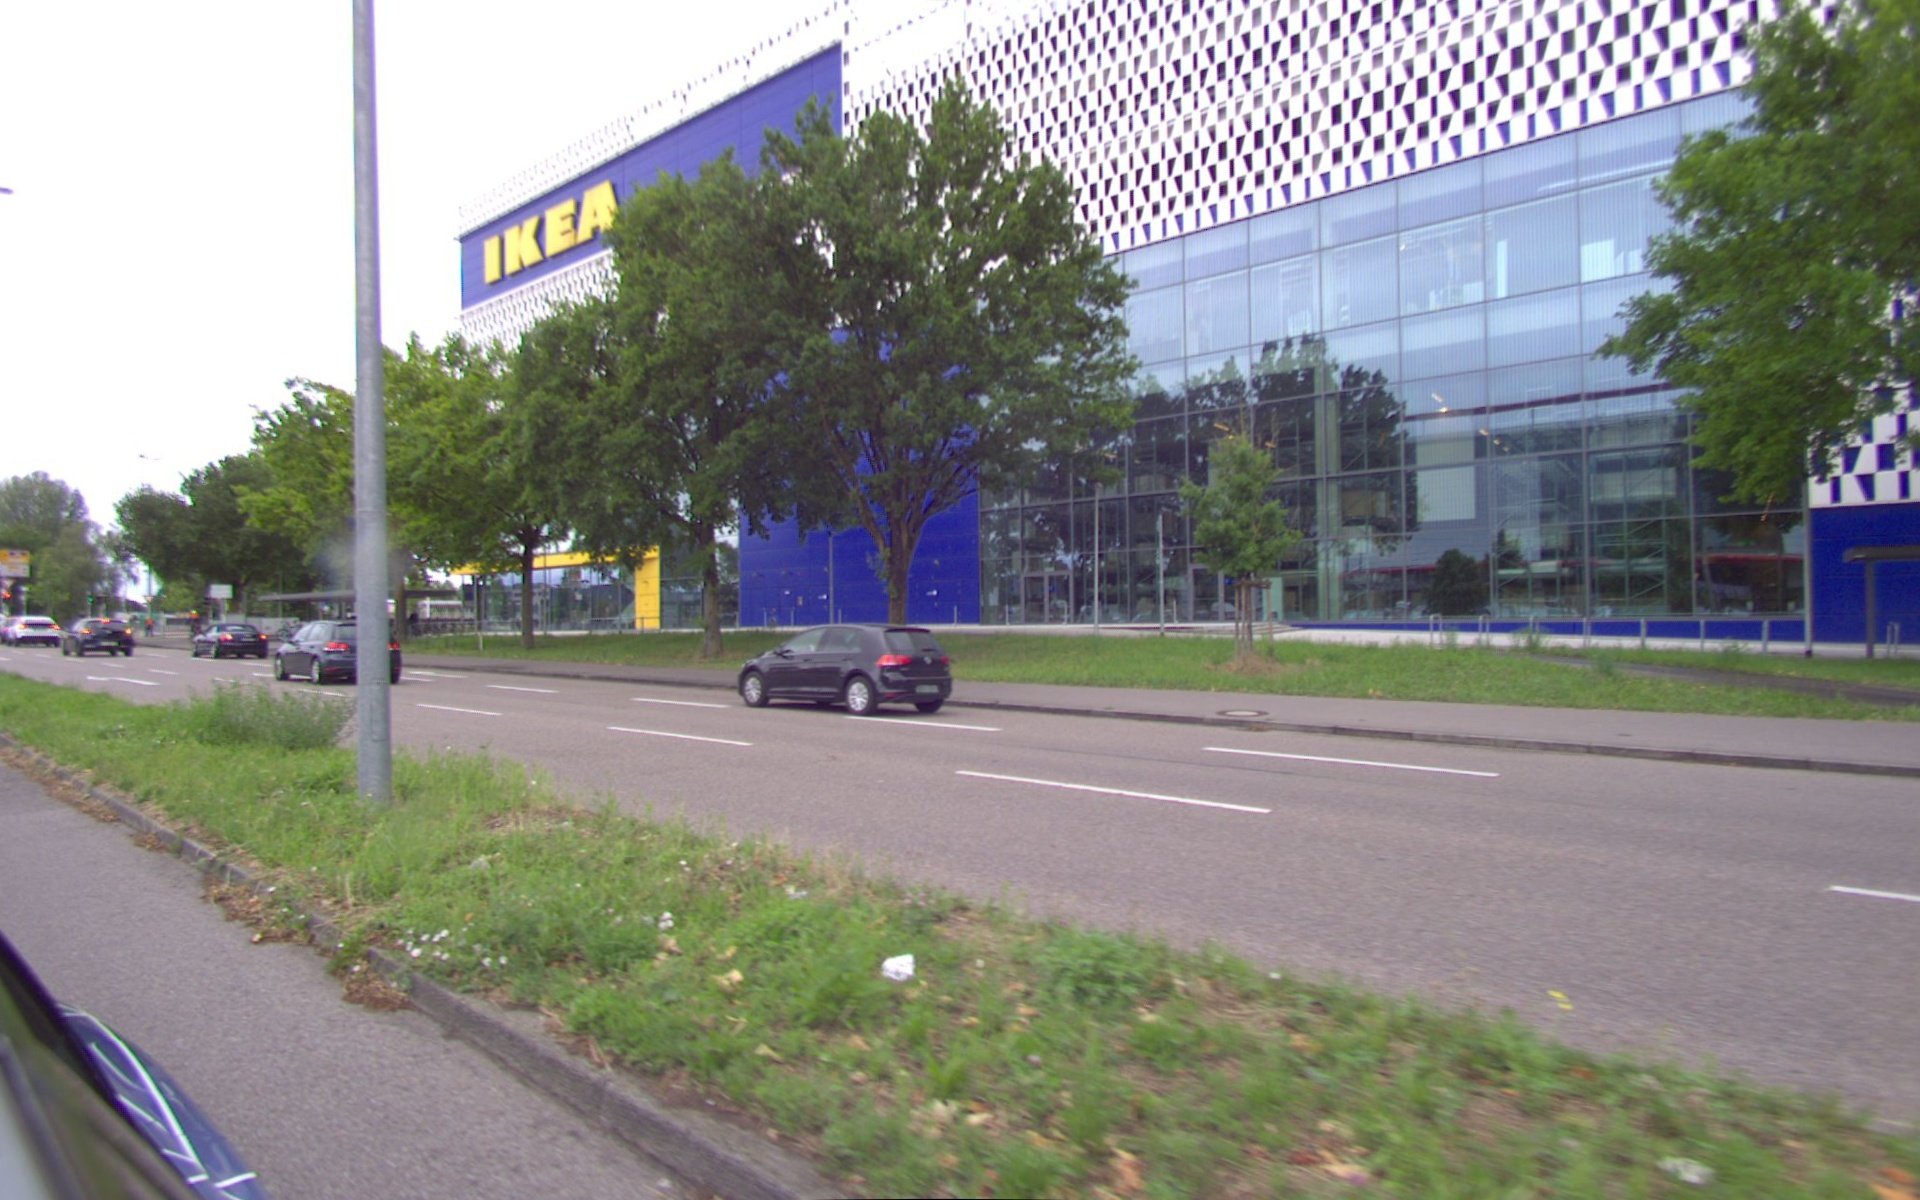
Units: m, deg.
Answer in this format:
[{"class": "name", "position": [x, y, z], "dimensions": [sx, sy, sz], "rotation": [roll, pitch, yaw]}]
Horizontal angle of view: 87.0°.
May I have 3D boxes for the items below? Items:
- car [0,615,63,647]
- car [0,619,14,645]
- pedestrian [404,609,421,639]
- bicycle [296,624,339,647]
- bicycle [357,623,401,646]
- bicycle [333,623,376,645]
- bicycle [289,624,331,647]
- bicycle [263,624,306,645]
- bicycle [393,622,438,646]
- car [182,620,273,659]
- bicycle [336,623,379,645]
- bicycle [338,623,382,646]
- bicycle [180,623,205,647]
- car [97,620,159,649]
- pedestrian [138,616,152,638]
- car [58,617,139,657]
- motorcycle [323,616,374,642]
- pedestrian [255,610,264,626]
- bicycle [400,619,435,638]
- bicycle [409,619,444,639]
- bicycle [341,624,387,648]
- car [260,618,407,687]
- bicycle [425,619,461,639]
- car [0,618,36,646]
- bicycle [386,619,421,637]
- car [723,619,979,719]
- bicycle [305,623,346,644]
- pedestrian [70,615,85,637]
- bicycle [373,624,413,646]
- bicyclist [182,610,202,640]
[{"class": "car", "position": [-47.071, 1.544, 51.181], "dimensions": [4.178, 1.530, 1.912], "rotation": [0, 0, 39]}, {"class": "car", "position": [-56.966, 1.852, 59.356], "dimensions": [4.139, 1.455, 1.586], "rotation": [0, -3, 39]}, {"class": "pedestrian", "position": [-33.468, 1.471, 61.879], "dimensions": [0.807, 1.759, 0.670], "rotation": [-2, -1, 39]}, {"class": "bicycle", "position": [-35.468, 1.939, 55.883], "dimensions": [0.593, 1.165, 1.875], "rotation": [-1, 1, 39]}, {"class": "bicycle", "position": [-32.181, 1.887, 56.063], "dimensions": [0.593, 1.165, 1.996], "rotation": [-1, 1, 39]}, {"class": "bicycle", "position": [-34.630, 1.941, 57.861], "dimensions": [0.593, 1.165, 1.996], "rotation": [-1, 1, 39]}, {"class": "bicycle", "position": [-36.315, 1.967, 56.552], "dimensions": [0.593, 1.165, 1.875], "rotation": [-1, 1, 39]}, {"class": "bicycle", "position": [-39.144, 2.016, 58.637], "dimensions": [0.593, 1.165, 1.995], "rotation": [-1, -1, 39]}, {"class": "bicycle", "position": [-28.480, 1.781, 52.970], "dimensions": [0.593, 1.131, 1.994], "rotation": [-1, 1, 42]}, {"class": "car", "position": [-28.987, 1.540, 40.007], "dimensions": [4.400, 1.463, 1.754], "rotation": [-1, -3, 39]}, {"class": "bicycle", "position": [-34.132, 1.910, 57.353], "dimensions": [0.593, 1.165, 1.996], "rotation": [-1, 1, 39]}, {"class": "bicycle", "position": [-33.384, 1.911, 56.336], "dimensions": [0.593, 1.165, 1.996], "rotation": [-1, 1, 39]}, {"class": "bicycle", "position": [-41.937, 1.888, 55.297], "dimensions": [2.054, 1.260, 0.636], "rotation": [-2, 0, 40]}, {"class": "car", "position": [-45.066, 1.850, 54.770], "dimensions": [4.165, 1.465, 1.847], "rotation": [-1, -2, 40]}, {"class": "pedestrian", "position": [-62.721, 2.040, 77.862], "dimensions": [0.808, 1.655, 0.627], "rotation": [1, 0, 37]}, {"class": "car", "position": [-33.871, 1.415, 39.759], "dimensions": [3.996, 1.464, 1.740], "rotation": [0, -1, 39]}, {"class": "motorcycle", "position": [-35.508, 1.679, 58.775], "dimensions": [0.796, 1.365, 2.477], "rotation": [-1, 1, 27]}, {"class": "pedestrian", "position": [-74.809, 1.918, 108.059], "dimensions": [0.788, 1.755, 0.578], "rotation": [-4, -3, 42]}, {"class": "bicycle", "position": [-35.681, 1.868, 66.586], "dimensions": [0.593, 1.165, 1.997], "rotation": [-1, 0, 38]}, {"class": "bicycle", "position": [-34.571, 1.876, 65.583], "dimensions": [0.590, 1.165, 2.004], "rotation": [-1, 0, 26]}, {"class": "bicycle", "position": [-31.109, 1.876, 52.824], "dimensions": [1.989, 1.165, 0.595], "rotation": [-2, 1, -36]}, {"class": "car", "position": [-14.857, 1.169, 23.912], "dimensions": [4.179, 1.467, 1.761], "rotation": [0, -2, 41]}, {"class": "bicycle", "position": [-32.863, 1.818, 64.308], "dimensions": [0.592, 1.165, 1.999], "rotation": [-1, 0, 33]}, {"class": "car", "position": [-52.076, 1.733, 55.416], "dimensions": [4.033, 1.509, 1.586], "rotation": [0, -3, 39]}, {"class": "bicycle", "position": [-37.476, 1.872, 68.153], "dimensions": [0.593, 1.165, 1.997], "rotation": [-1, 0, 38]}, {"class": "car", "position": [-1.900, 1.095, 16.911], "dimensions": [4.179, 1.467, 1.911], "rotation": [-1, -4, 41]}, {"class": "bicycle", "position": [-37.672, 1.988, 60.111], "dimensions": [1.988, 1.165, 0.595], "rotation": [-2, 1, -34]}, {"class": "pedestrian", "position": [-73.272, 2.155, 84.021], "dimensions": [0.686, 1.778, 0.656], "rotation": [3, -2, 37]}, {"class": "bicycle", "position": [-30.330, 1.860, 54.156], "dimensions": [0.593, 1.090, 1.791], "rotation": [-1, 1, 39]}, {"class": "bicyclist", "position": [-41.949, 1.366, 55.272], "dimensions": [0.999, 1.589, 0.634], "rotation": [-2, 0, 39]}]
